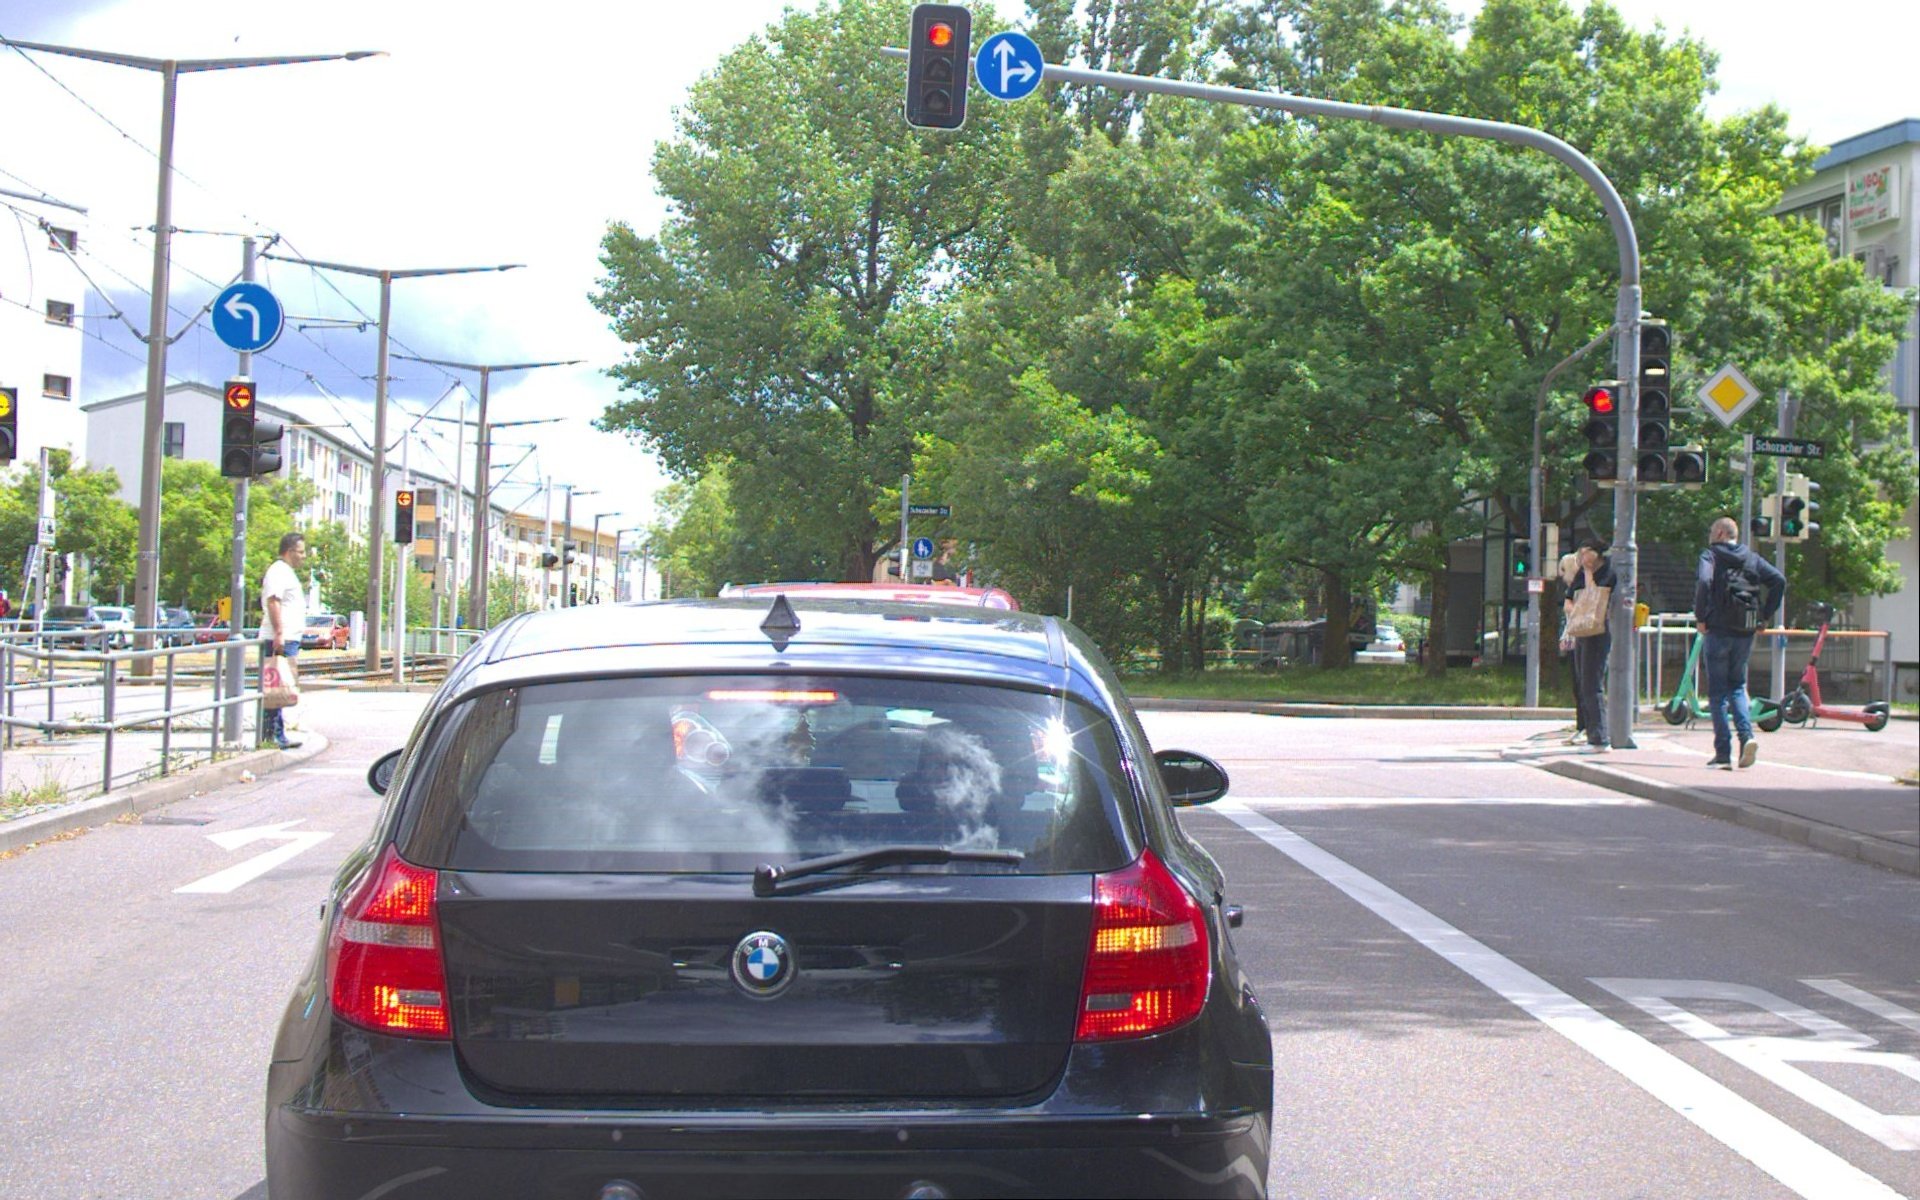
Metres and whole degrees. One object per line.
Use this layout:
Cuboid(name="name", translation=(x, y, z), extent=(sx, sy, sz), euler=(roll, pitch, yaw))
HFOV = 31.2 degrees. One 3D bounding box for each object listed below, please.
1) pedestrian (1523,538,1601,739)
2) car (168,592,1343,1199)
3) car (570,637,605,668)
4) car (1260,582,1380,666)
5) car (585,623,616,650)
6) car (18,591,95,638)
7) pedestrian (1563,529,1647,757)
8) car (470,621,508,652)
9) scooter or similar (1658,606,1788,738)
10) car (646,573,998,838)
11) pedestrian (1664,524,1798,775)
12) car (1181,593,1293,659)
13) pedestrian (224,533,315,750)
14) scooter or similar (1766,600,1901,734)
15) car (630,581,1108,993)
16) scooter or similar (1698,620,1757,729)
Cuboid(name="pedestrian", translation=(5.335, 0.333, 30.499), extent=(0.636, 1.760, 0.518), euler=(1, 0, 8))
Cuboid(name="car", translation=(-0.322, 0.707, 6.727), extent=(1.700, 1.395, 3.420), euler=(1, 0, -1))
Cuboid(name="car", translation=(-19.686, 2.747, 181.774), extent=(1.651, 1.529, 3.872), euler=(1, 0, -3))
Cuboid(name="car", translation=(8.323, 0.544, 79.753), extent=(1.726, 1.865, 4.001), euler=(1, 0, -9))
Cuboid(name="car", translation=(-21.345, 2.181, 204.160), extent=(1.651, 1.529, 3.872), euler=(-2, 0, -4))
Cuboid(name="car", translation=(-29.392, 0.459, 111.916), extent=(1.591, 1.469, 3.775), euler=(1, 0, -2))
Cuboid(name="pedestrian", translation=(5.377, 0.352, 28.681), extent=(0.636, 1.870, 0.518), euler=(1, 0, 8))
Cuboid(name="car", translation=(-23.072, 1.793, 168.418), extent=(1.794, 1.405, 4.001), euler=(1, 0, -8))
Cuboid(name="scooter or similar", translation=(7.317, 0.682, 32.982), extent=(1.110, 1.231, 0.539), euler=(1, 0, 2))
Cuboid(name="car", translation=(-0.782, 0.561, 21.074), extent=(1.900, 1.417, 4.539), euler=(1, 0, -1))
Cuboid(name="pedestrian", translation=(5.865, 0.369, 26.194), extent=(0.795, 1.870, 1.013), euler=(1, 0, 2))
Cuboid(name="car", translation=(7.273, 0.658, 90.682), extent=(1.862, 1.656, 4.001), euler=(1, 0, -11))
Cuboid(name="pedestrian", translation=(-5.565, 0.332, 27.741), extent=(0.687, 1.728, 0.688), euler=(0, 0, -10))
Cuboid(name="scooter or similar", translation=(8.618, 0.659, 33.931), extent=(1.150, 1.268, 0.555), euler=(2, 0, 2))
Cuboid(name="car", translation=(-0.335, 0.640, 13.630), extent=(1.638, 1.395, 3.420), euler=(1, 0, -1))
Cuboid(name="scooter or similar", translation=(7.794, 0.743, 34.898), extent=(0.548, 1.060, 1.261), euler=(1, 0, 13))
